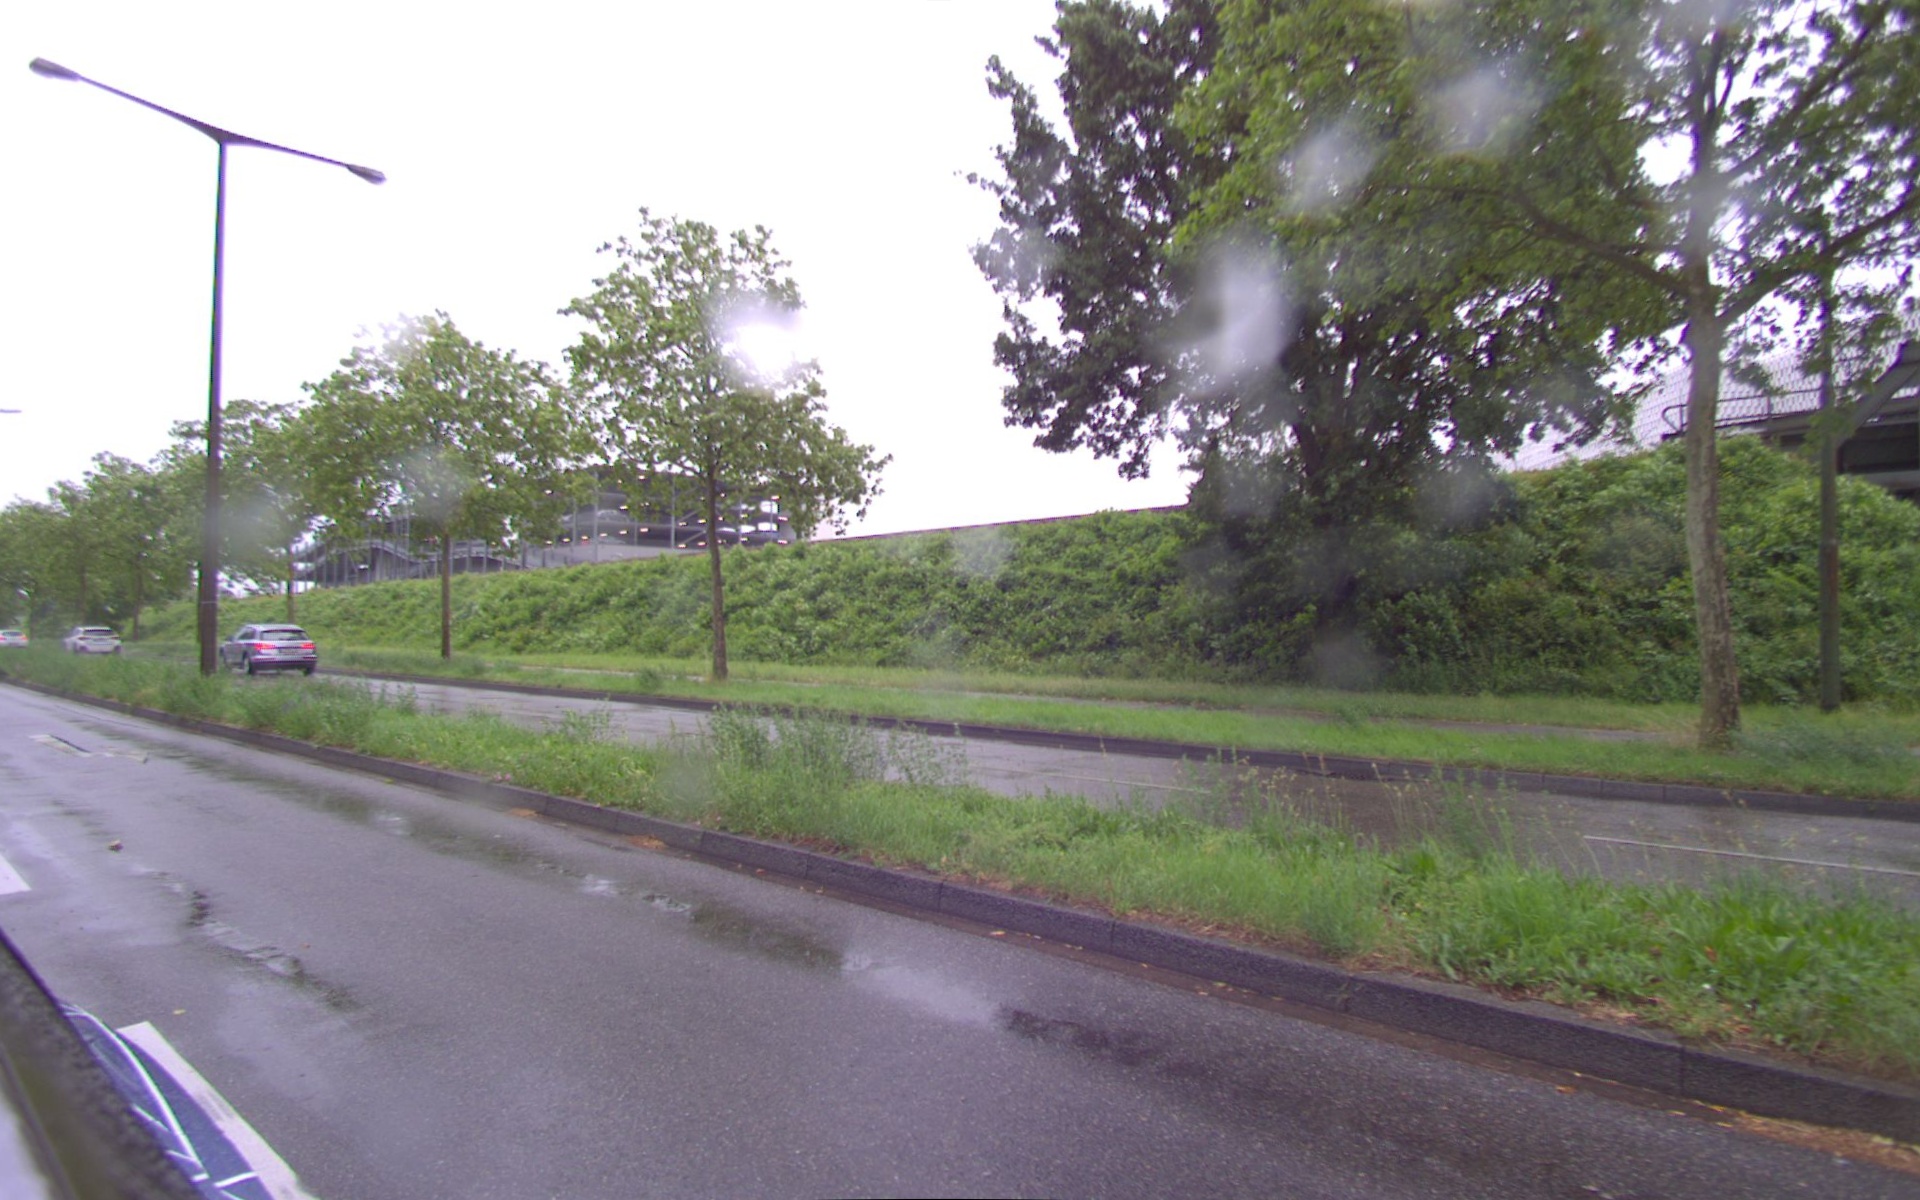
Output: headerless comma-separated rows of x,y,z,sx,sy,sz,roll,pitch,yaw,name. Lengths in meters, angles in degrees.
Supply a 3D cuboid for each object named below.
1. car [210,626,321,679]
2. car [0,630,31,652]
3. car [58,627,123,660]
-22.739,1.694,33.084,4.516,1.601,1.837,-1,-5,41,car
-68.142,2.916,72.402,4.654,1.456,1.911,-2,-2,41,car
-44.121,2.208,51.336,4.516,1.601,1.837,-1,-3,41,car
